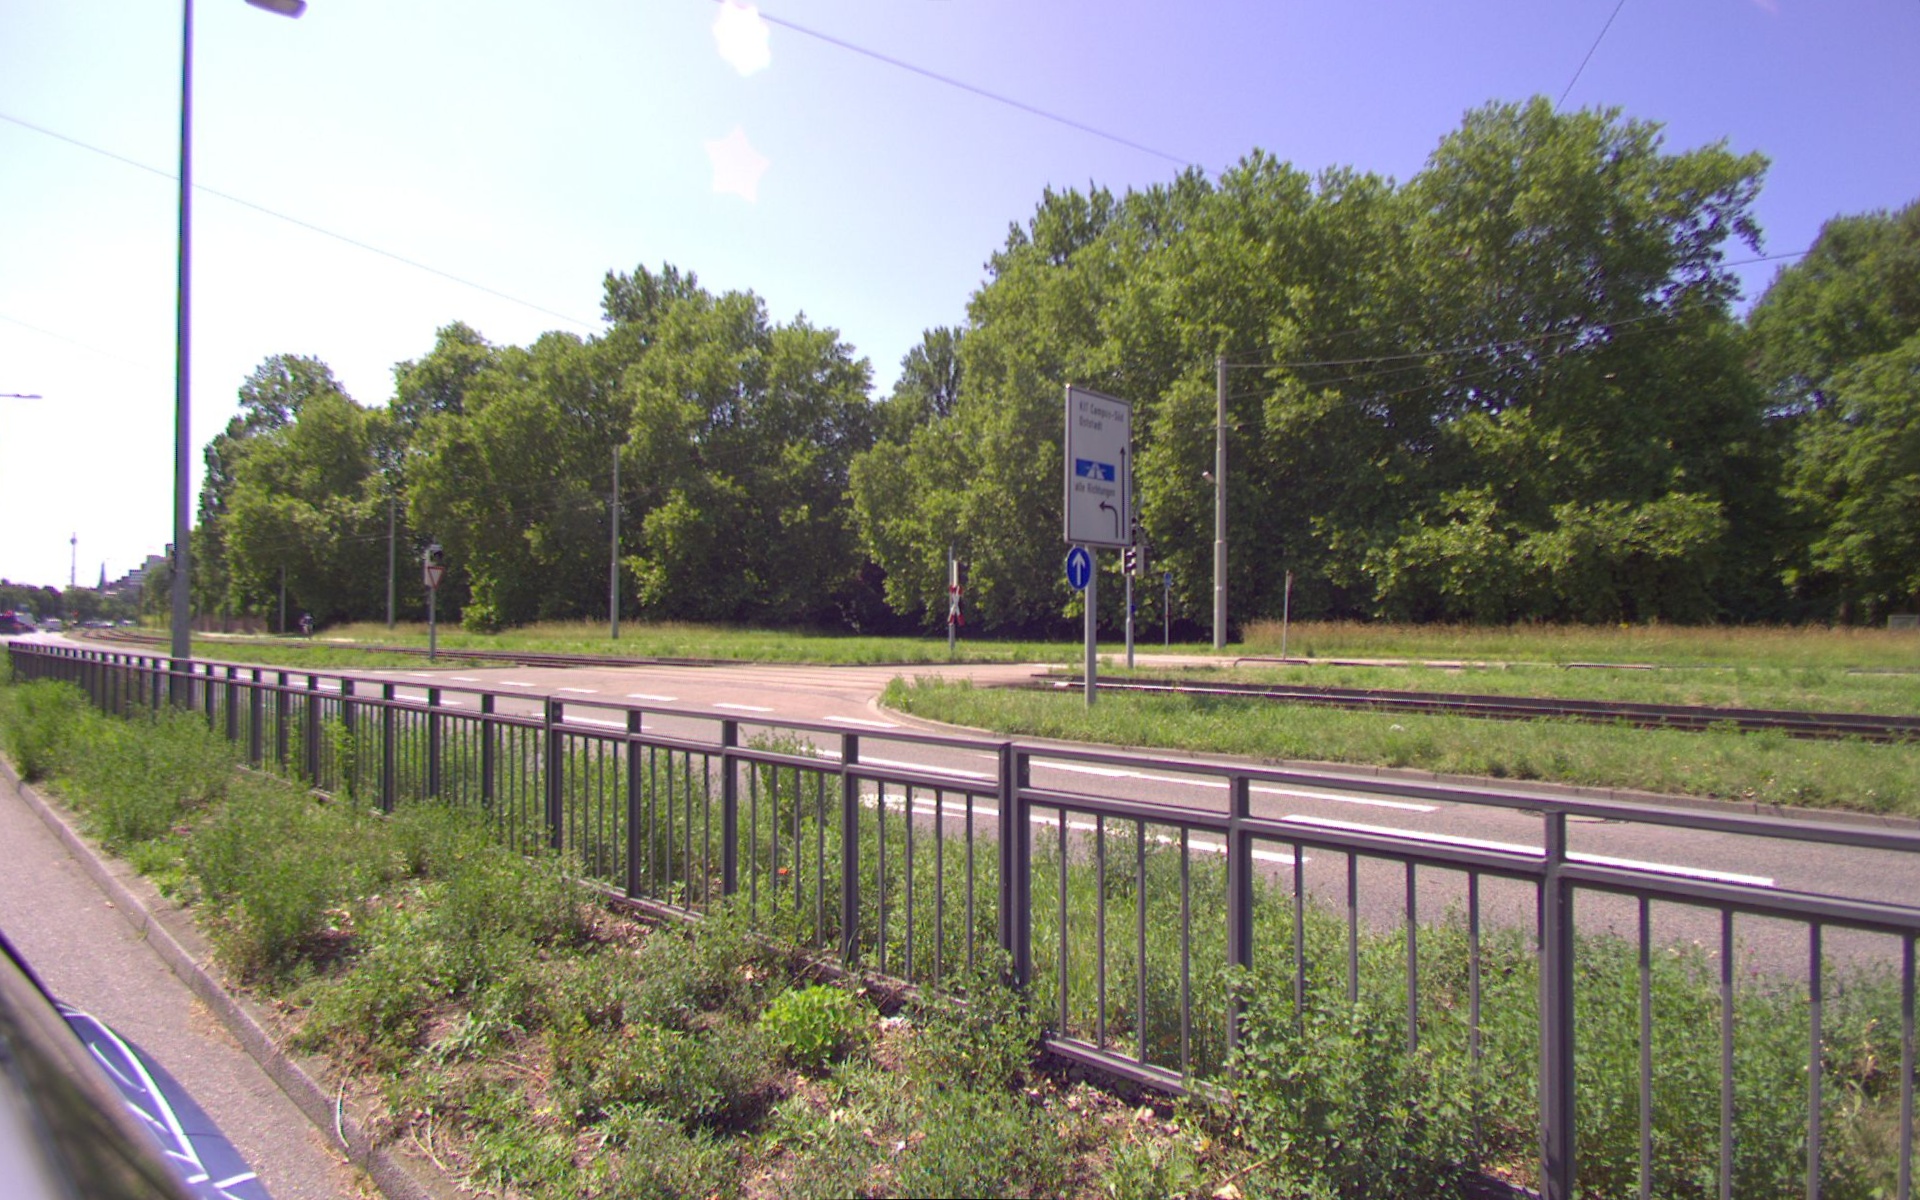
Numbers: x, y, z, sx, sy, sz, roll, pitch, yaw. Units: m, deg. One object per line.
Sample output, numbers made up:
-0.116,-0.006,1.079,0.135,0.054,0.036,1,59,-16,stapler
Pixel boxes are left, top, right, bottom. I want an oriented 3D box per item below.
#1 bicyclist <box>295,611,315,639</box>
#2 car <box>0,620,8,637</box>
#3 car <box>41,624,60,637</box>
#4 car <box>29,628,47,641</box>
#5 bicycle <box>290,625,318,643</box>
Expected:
-43.664,1.670,67.431,1.117,1.820,0.851,-1,-2,41,bicyclist
-107.931,3.191,113.206,1.970,1.871,4.004,1,-2,-43,car
-136.394,4.541,151.748,1.970,1.871,4.003,1,-2,-44,car
-141.866,5.262,155.686,1.970,1.871,4.003,1,-2,-44,car
-43.718,2.249,67.434,2.785,1.171,0.851,-1,-2,41,bicycle
